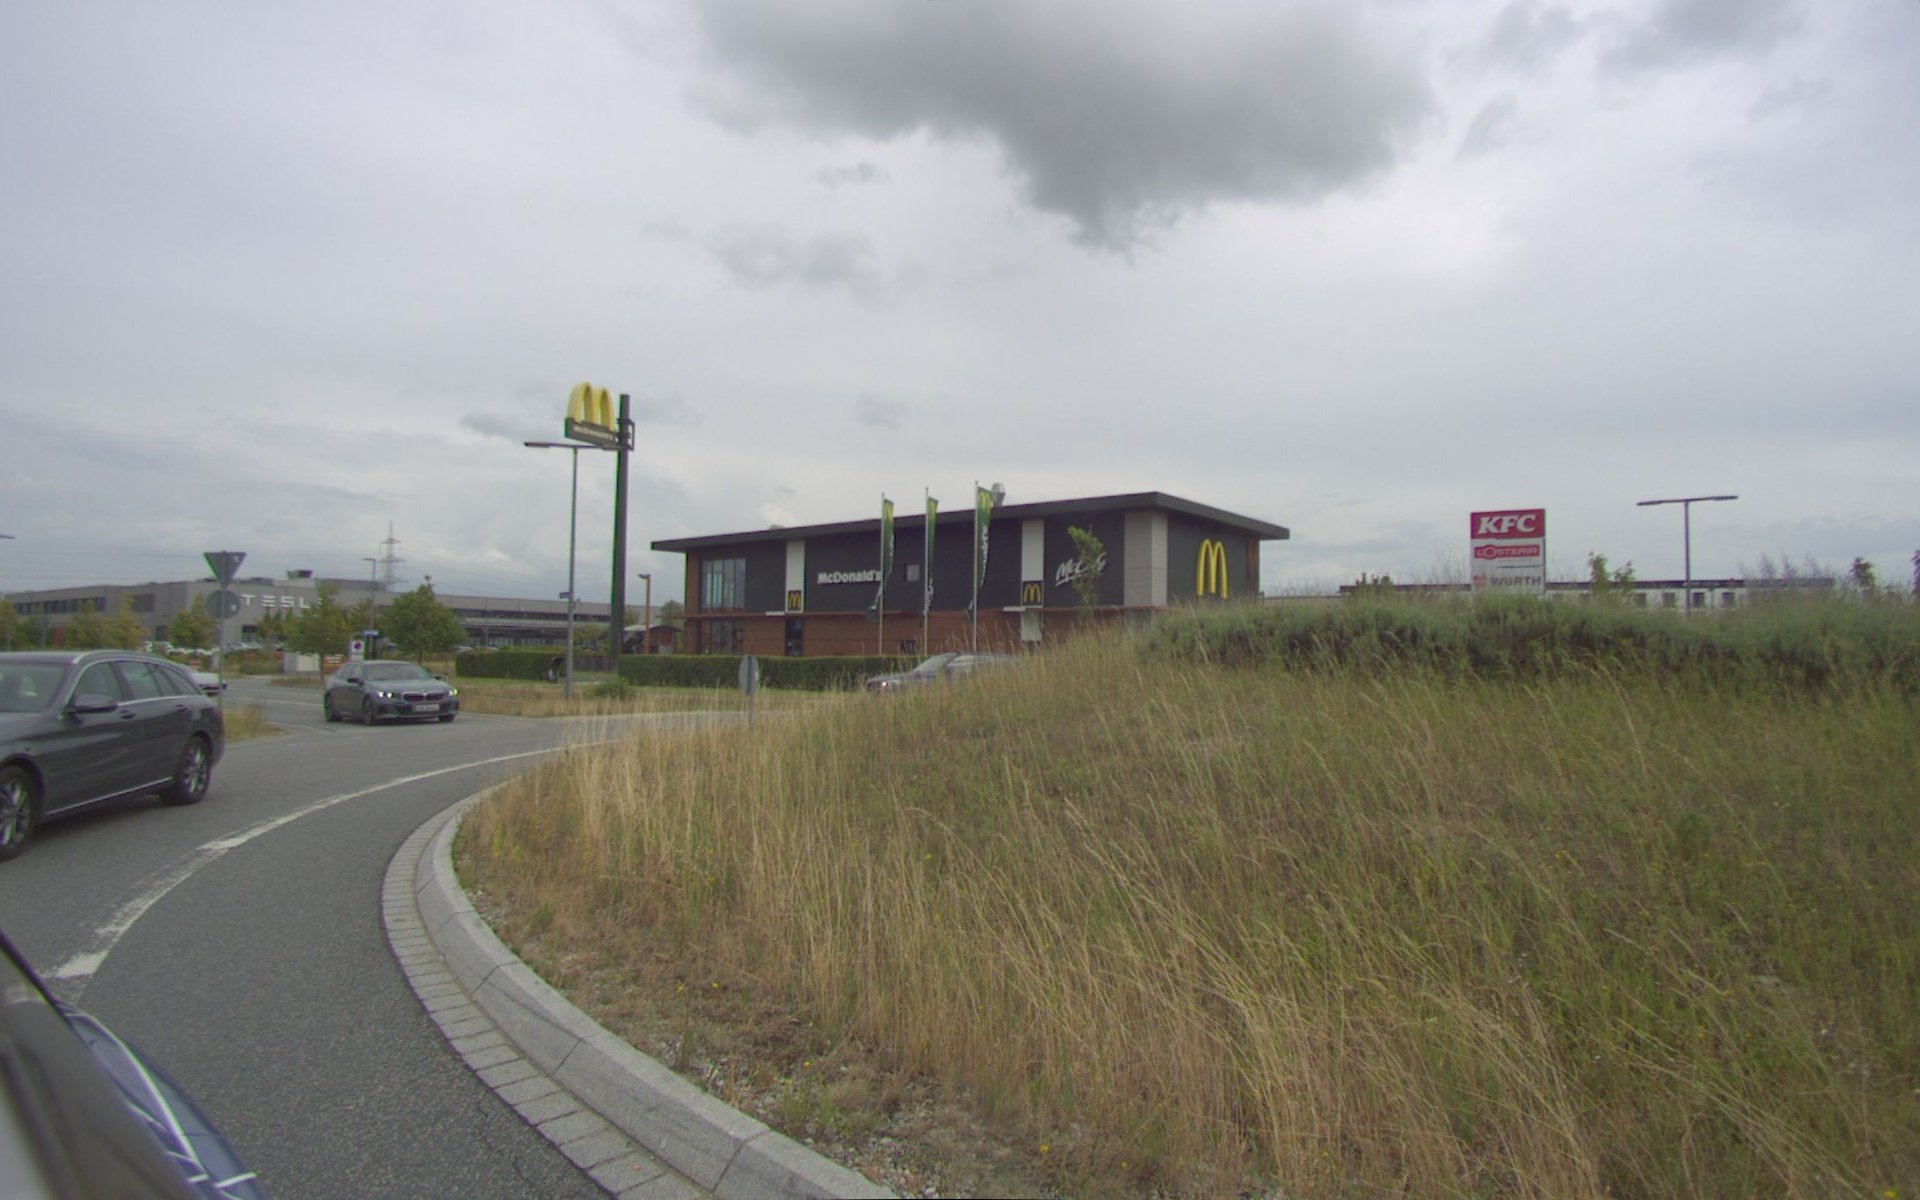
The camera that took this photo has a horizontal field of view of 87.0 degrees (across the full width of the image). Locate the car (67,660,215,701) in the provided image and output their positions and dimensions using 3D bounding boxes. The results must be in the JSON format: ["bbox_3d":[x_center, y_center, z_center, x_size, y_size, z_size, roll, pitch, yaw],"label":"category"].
[{"bbox_3d":[-31.521,3.074,38.997,4.684,1.408,1.822,0,-2,11],"label":"car"}]

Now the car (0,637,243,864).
[{"bbox_3d":[-7.660,1.111,7.912,1.876,1.508,4.350,-1,-3,-14],"label":"car"}]

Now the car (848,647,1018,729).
[{"bbox_3d":[-0.649,2.153,25.703,3.935,1.732,1.848,-1,-1,-37],"label":"car"}]

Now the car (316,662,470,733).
[{"bbox_3d":[-13.952,2.306,24.809,4.305,1.516,1.971,-3,-3,41],"label":"car"}]
